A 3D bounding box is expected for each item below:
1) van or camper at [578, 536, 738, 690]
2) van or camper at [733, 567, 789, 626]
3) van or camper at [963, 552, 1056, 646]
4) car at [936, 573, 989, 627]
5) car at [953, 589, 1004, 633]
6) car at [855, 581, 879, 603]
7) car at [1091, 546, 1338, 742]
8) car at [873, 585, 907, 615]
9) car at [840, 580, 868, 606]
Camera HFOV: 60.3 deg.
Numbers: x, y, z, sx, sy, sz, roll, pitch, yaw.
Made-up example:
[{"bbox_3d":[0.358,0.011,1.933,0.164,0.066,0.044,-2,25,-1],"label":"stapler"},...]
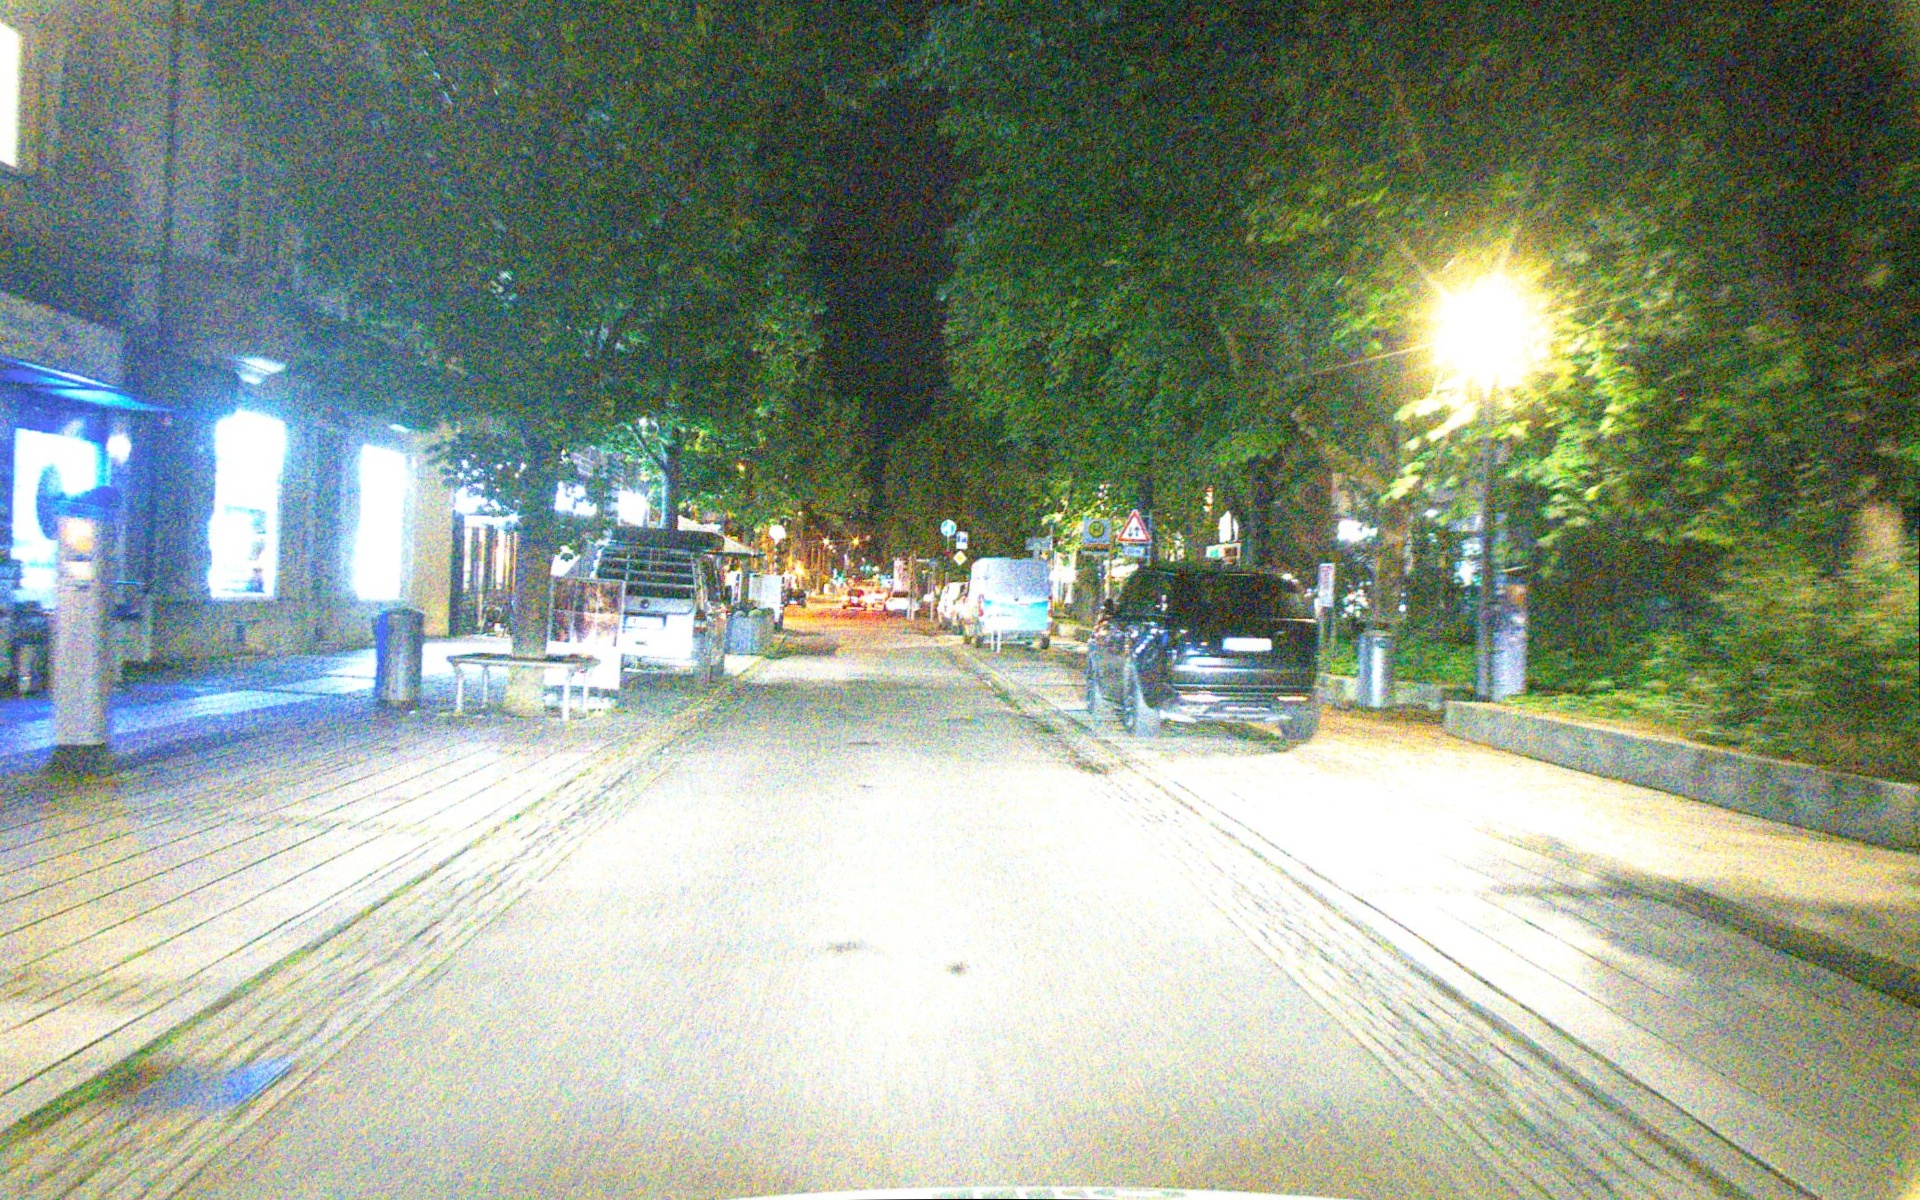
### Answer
[{"bbox_3d":[-4.491,0.168,25.200,1.830,2.046,4.258,3,0,-4],"label":"van or camper"},{"bbox_3d":[-7.184,-0.135,59.675,1.899,2.023,3.840,2,0,-7],"label":"van or camper"},{"bbox_3d":[1.268,-0.038,44.264,2.067,2.358,4.258,1,0,-4],"label":"van or camper"},{"bbox_3d":[0.057,-0.002,63.014,1.803,1.934,3.843,2,0,-3],"label":"car"},{"bbox_3d":[0.609,0.369,57.223,1.500,1.443,3.843,2,0,-3],"label":"car"},{"bbox_3d":[-8.191,-0.702,145.852,1.954,1.855,3.997,2,0,-4],"label":"car"},{"bbox_3d":[2.654,0.421,18.266,1.779,1.860,4.344,1,0,-4],"label":"car"},{"bbox_3d":[-3.829,-0.016,90.714,1.803,1.569,3.843,2,0,-3],"label":"car"},{"bbox_3d":[-7.824,-0.534,122.422,1.954,1.855,3.997,2,0,-4],"label":"car"}]
